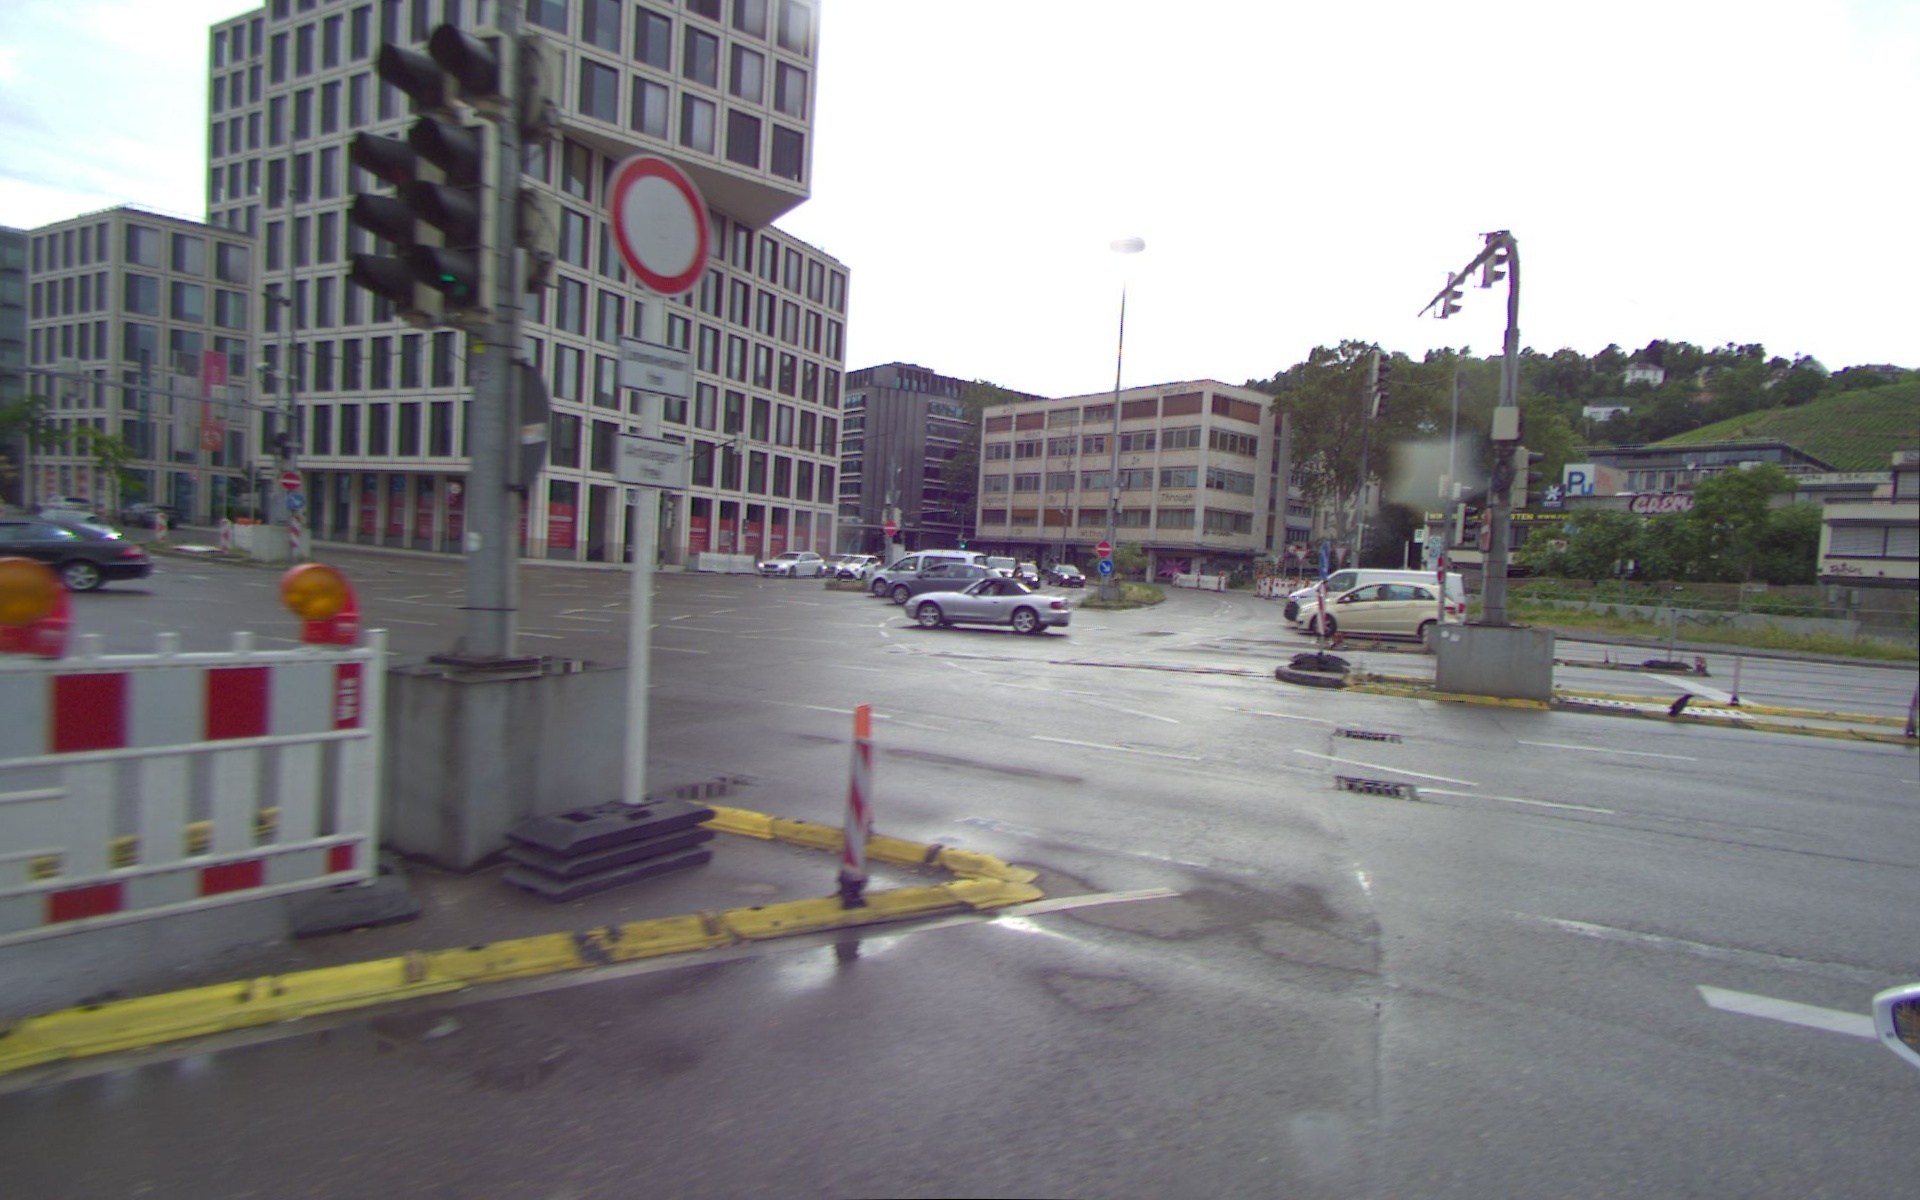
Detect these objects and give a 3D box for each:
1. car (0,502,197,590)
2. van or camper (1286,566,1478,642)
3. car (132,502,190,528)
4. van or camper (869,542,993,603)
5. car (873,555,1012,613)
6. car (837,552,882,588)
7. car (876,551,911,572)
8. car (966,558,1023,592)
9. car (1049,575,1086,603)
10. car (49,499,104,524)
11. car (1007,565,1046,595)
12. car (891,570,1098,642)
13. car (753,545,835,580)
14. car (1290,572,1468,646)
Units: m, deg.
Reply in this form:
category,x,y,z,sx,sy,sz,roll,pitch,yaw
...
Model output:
category,x,y,z,sx,sy,sz,roll,pitch,yaw
car,-18.461,-1.117,20.389,4.617,1.620,1.998,1,3,-36
van or camper,12.678,0.050,30.390,5.113,1.919,1.886,4,3,24
car,-52.235,-5.577,65.660,3.932,1.543,1.862,4,3,34
van or camper,-1.079,-1.046,37.345,4.174,2.005,1.850,4,3,23
car,-0.570,-0.544,32.743,4.100,1.620,1.850,4,3,23
car,-5.606,-1.723,56.287,1.769,1.840,4.000,3,3,4
car,-7.424,-4.354,112.423,1.982,2.040,3.957,3,3,-37
car,1.713,-1.227,48.711,1.799,1.506,4.000,3,3,16
car,7.188,-0.793,67.421,1.664,1.720,3.996,2,2,-4
car,-62.516,-6.263,71.042,3.930,1.543,1.863,4,3,32
car,3.880,-1.206,58.983,1.664,1.578,3.996,2,2,-4
car,0.803,0.078,23.016,4.439,1.327,1.643,4,3,17
car,-9.203,-2.074,56.034,2.187,1.777,4.809,4,2,24
car,11.550,0.203,27.765,4.298,1.696,1.846,4,3,26
